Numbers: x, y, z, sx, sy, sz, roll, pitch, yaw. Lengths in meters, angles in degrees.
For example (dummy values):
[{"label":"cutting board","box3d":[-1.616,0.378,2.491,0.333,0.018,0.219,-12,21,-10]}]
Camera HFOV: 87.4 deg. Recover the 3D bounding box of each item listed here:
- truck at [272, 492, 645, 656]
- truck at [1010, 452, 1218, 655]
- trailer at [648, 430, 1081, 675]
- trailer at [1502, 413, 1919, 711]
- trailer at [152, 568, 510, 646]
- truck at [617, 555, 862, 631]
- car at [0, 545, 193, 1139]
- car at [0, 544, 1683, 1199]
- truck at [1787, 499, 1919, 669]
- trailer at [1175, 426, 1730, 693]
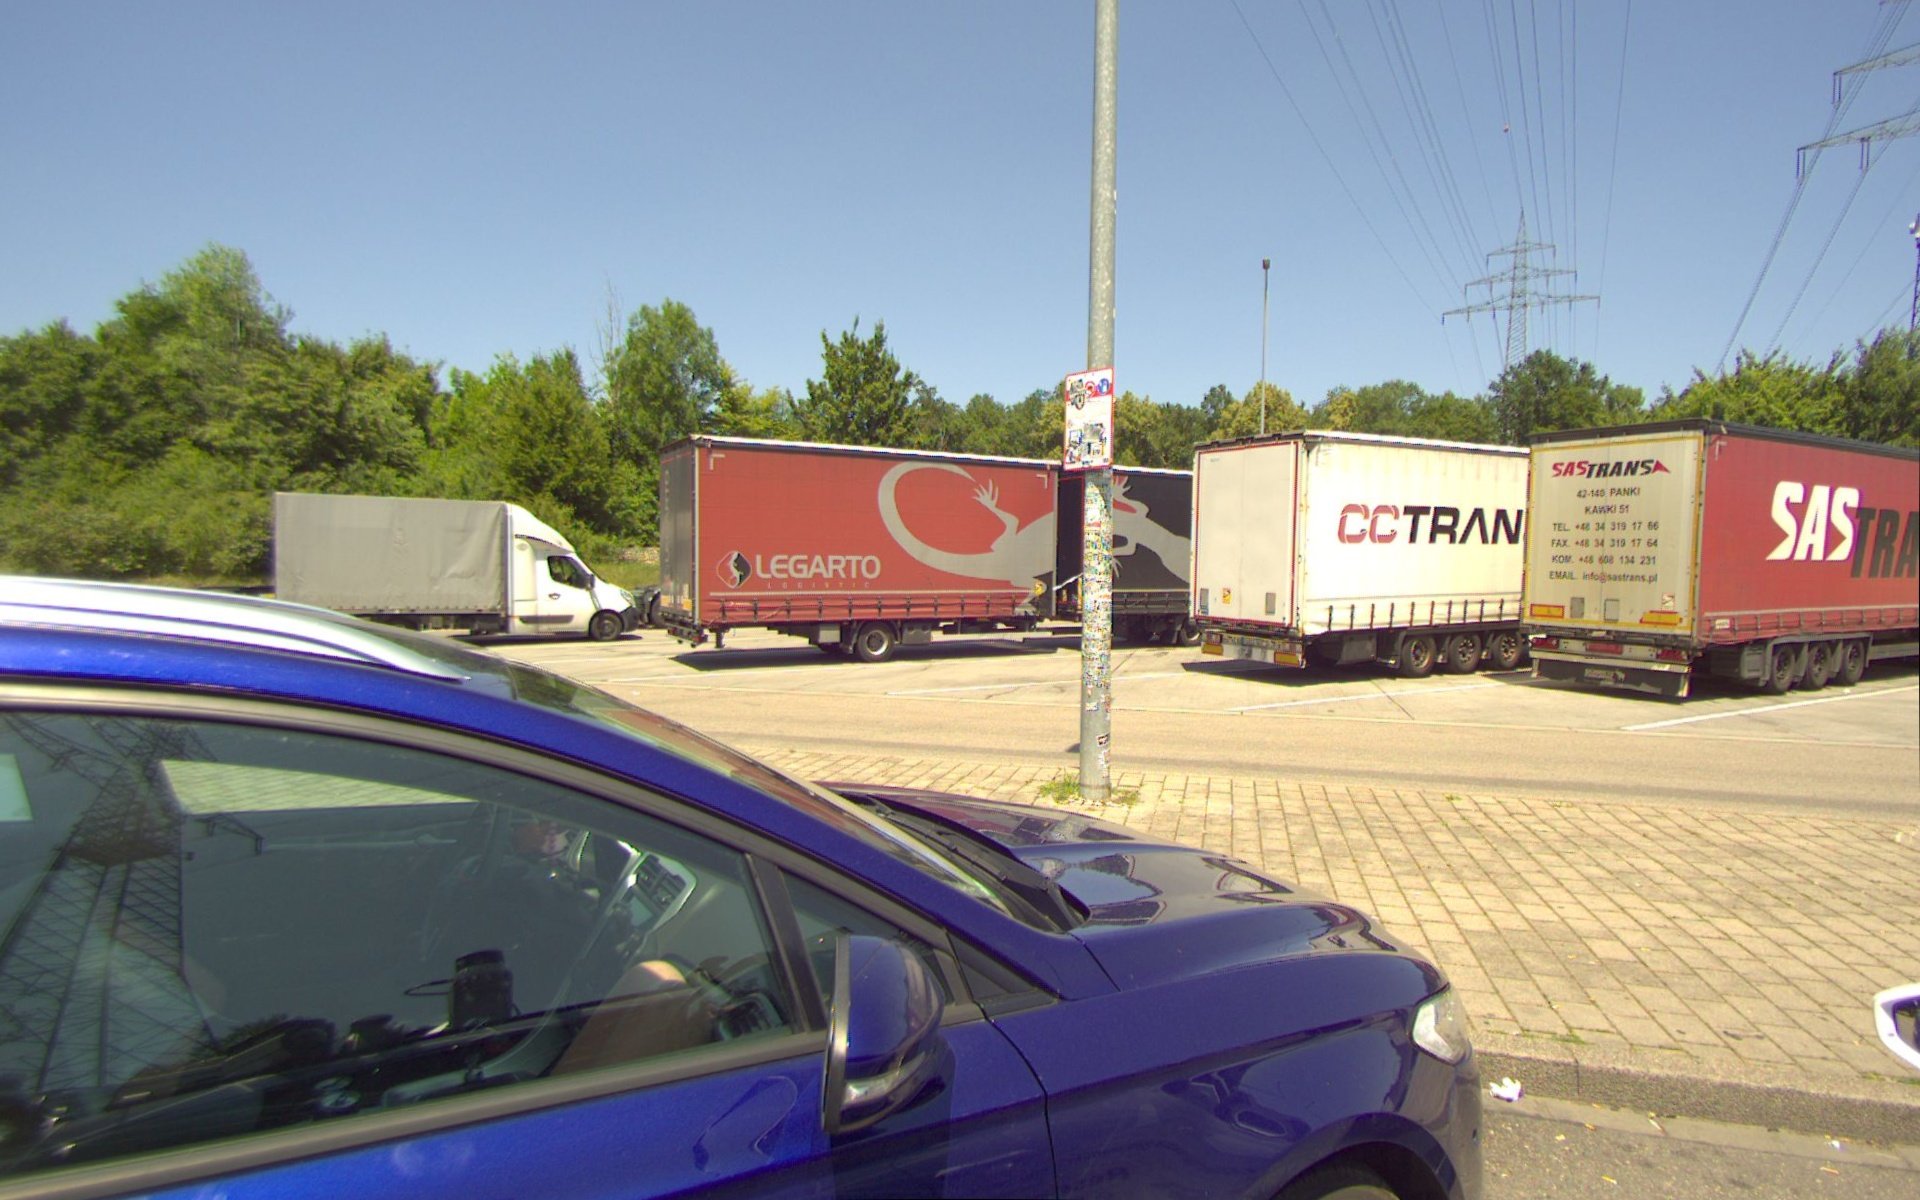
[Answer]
[{"label":"truck","box3d":[-11.192,-0.612,23.029,7.204,3.279,2.727,-1,3,-29]},{"label":"truck","box3d":[3.567,-1.056,23.451,3.947,4.298,2.723,-1,3,-30]},{"label":"trailer","box3d":[-1.746,-0.890,20.331,8.376,4.141,2.722,-1,3,-30]},{"label":"trailer","box3d":[15.603,-0.686,18.723,13.962,4.141,2.777,-1,3,-30]},{"label":"trailer","box3d":[-15.166,0.070,24.899,7.204,1.711,2.249,-1,3,-29]},{"label":"truck","box3d":[-6.348,-0.216,29.277,6.733,2.041,1.987,-1,1,-26]},{"label":"car","box3d":[-4.619,0.606,2.228,4.444,1.520,1.762,0,2,-32]},{"label":"car","box3d":[-1.043,0.683,1.495,4.444,1.511,1.859,0,2,-32]},{"label":"truck","box3d":[21.206,-0.388,21.999,5.829,3.373,2.837,-1,3,-30]},{"label":"trailer","box3d":[10.583,-0.793,20.336,13.962,4.141,2.782,-1,3,-30]}]
